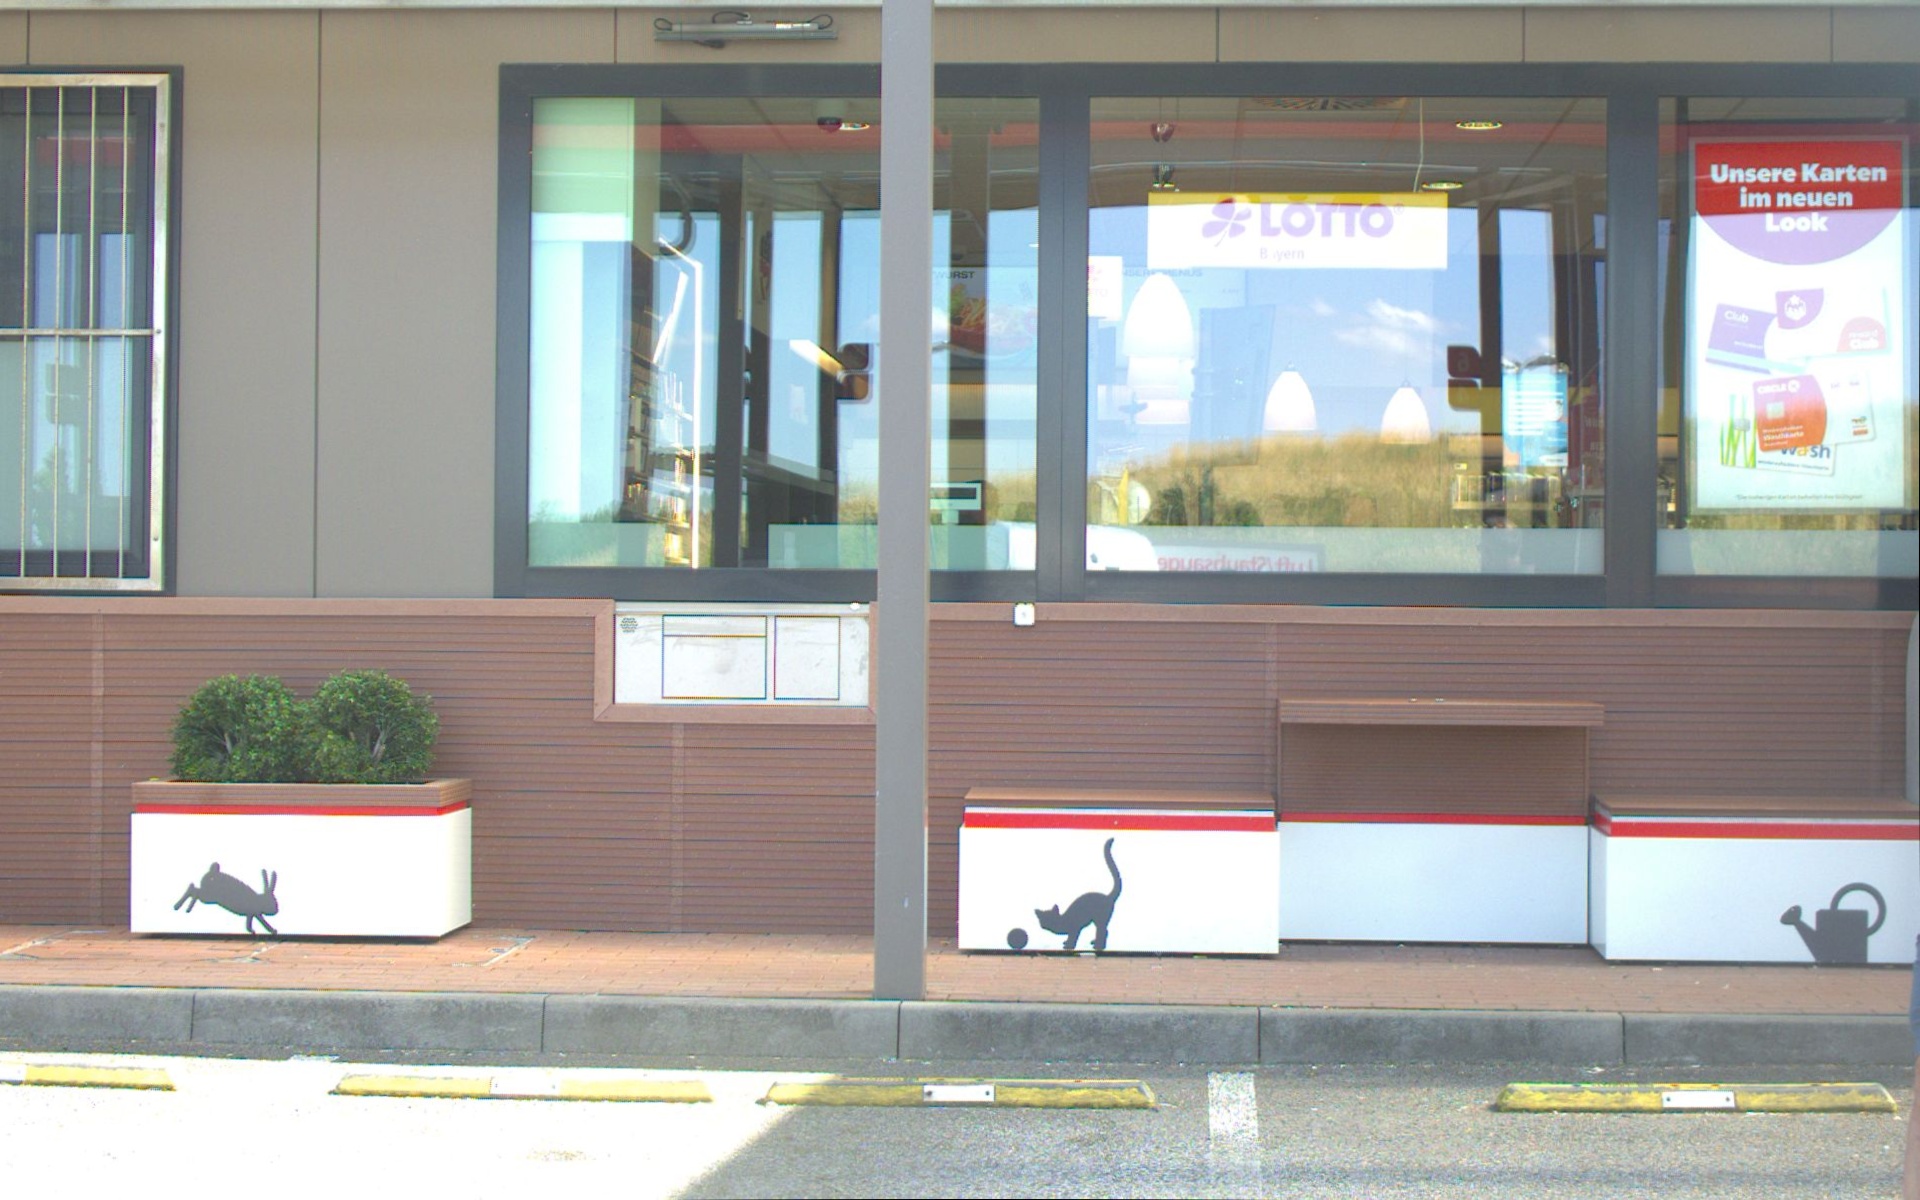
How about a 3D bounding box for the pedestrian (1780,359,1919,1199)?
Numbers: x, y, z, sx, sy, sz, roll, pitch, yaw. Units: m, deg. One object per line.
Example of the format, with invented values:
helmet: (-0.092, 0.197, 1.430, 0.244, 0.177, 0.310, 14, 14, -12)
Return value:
pedestrian: (1.936, 0.490, 6.044, 0.702, 1.791, 0.861, 1, 1, 33)
